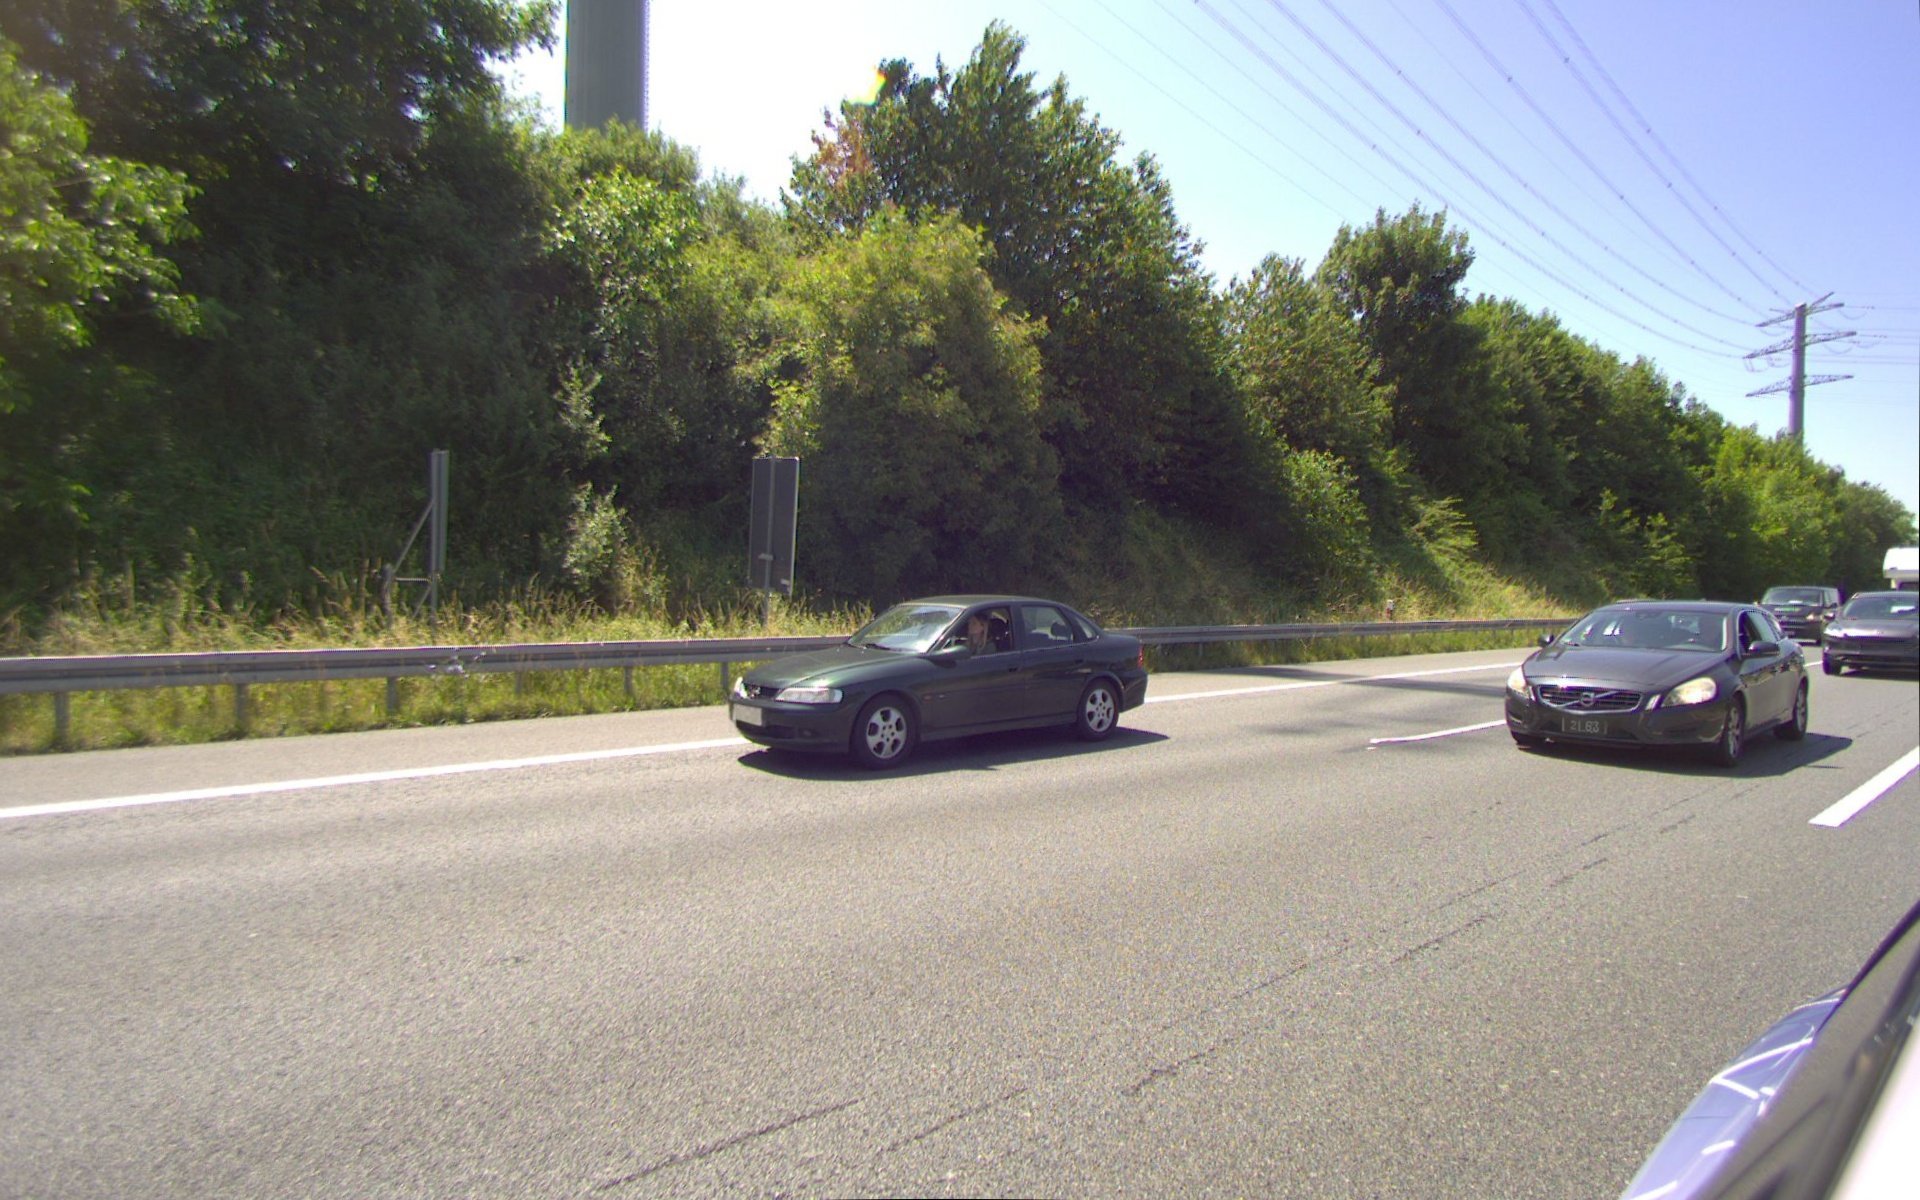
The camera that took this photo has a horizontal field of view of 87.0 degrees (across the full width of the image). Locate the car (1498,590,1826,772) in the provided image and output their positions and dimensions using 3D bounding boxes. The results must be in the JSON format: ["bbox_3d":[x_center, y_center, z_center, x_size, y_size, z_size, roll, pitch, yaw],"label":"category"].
[{"bbox_3d":[7.183,0.627,10.185,4.158,1.455,1.799,-1,1,-42],"label":"car"}]

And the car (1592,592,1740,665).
[{"bbox_3d":[15.773,0.567,22.548,3.943,1.488,1.744,0,0,-40],"label":"car"}]

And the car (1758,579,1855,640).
[{"bbox_3d":[28.608,0.294,34.154,4.615,1.928,1.787,0,0,-40],"label":"car"}]

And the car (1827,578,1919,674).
[{"bbox_3d":[18.725,0.454,19.969,4.308,1.724,1.890,0,1,-42],"label":"car"}]

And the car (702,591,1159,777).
[{"bbox_3d":[-0.123,0.620,9.665,4.226,1.395,1.738,-1,0,-40],"label":"car"}]

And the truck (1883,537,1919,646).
[{"bbox_3d":[30.922,-0.272,31.004,9.720,3.053,2.513,-1,0,-39],"label":"truck"}]
